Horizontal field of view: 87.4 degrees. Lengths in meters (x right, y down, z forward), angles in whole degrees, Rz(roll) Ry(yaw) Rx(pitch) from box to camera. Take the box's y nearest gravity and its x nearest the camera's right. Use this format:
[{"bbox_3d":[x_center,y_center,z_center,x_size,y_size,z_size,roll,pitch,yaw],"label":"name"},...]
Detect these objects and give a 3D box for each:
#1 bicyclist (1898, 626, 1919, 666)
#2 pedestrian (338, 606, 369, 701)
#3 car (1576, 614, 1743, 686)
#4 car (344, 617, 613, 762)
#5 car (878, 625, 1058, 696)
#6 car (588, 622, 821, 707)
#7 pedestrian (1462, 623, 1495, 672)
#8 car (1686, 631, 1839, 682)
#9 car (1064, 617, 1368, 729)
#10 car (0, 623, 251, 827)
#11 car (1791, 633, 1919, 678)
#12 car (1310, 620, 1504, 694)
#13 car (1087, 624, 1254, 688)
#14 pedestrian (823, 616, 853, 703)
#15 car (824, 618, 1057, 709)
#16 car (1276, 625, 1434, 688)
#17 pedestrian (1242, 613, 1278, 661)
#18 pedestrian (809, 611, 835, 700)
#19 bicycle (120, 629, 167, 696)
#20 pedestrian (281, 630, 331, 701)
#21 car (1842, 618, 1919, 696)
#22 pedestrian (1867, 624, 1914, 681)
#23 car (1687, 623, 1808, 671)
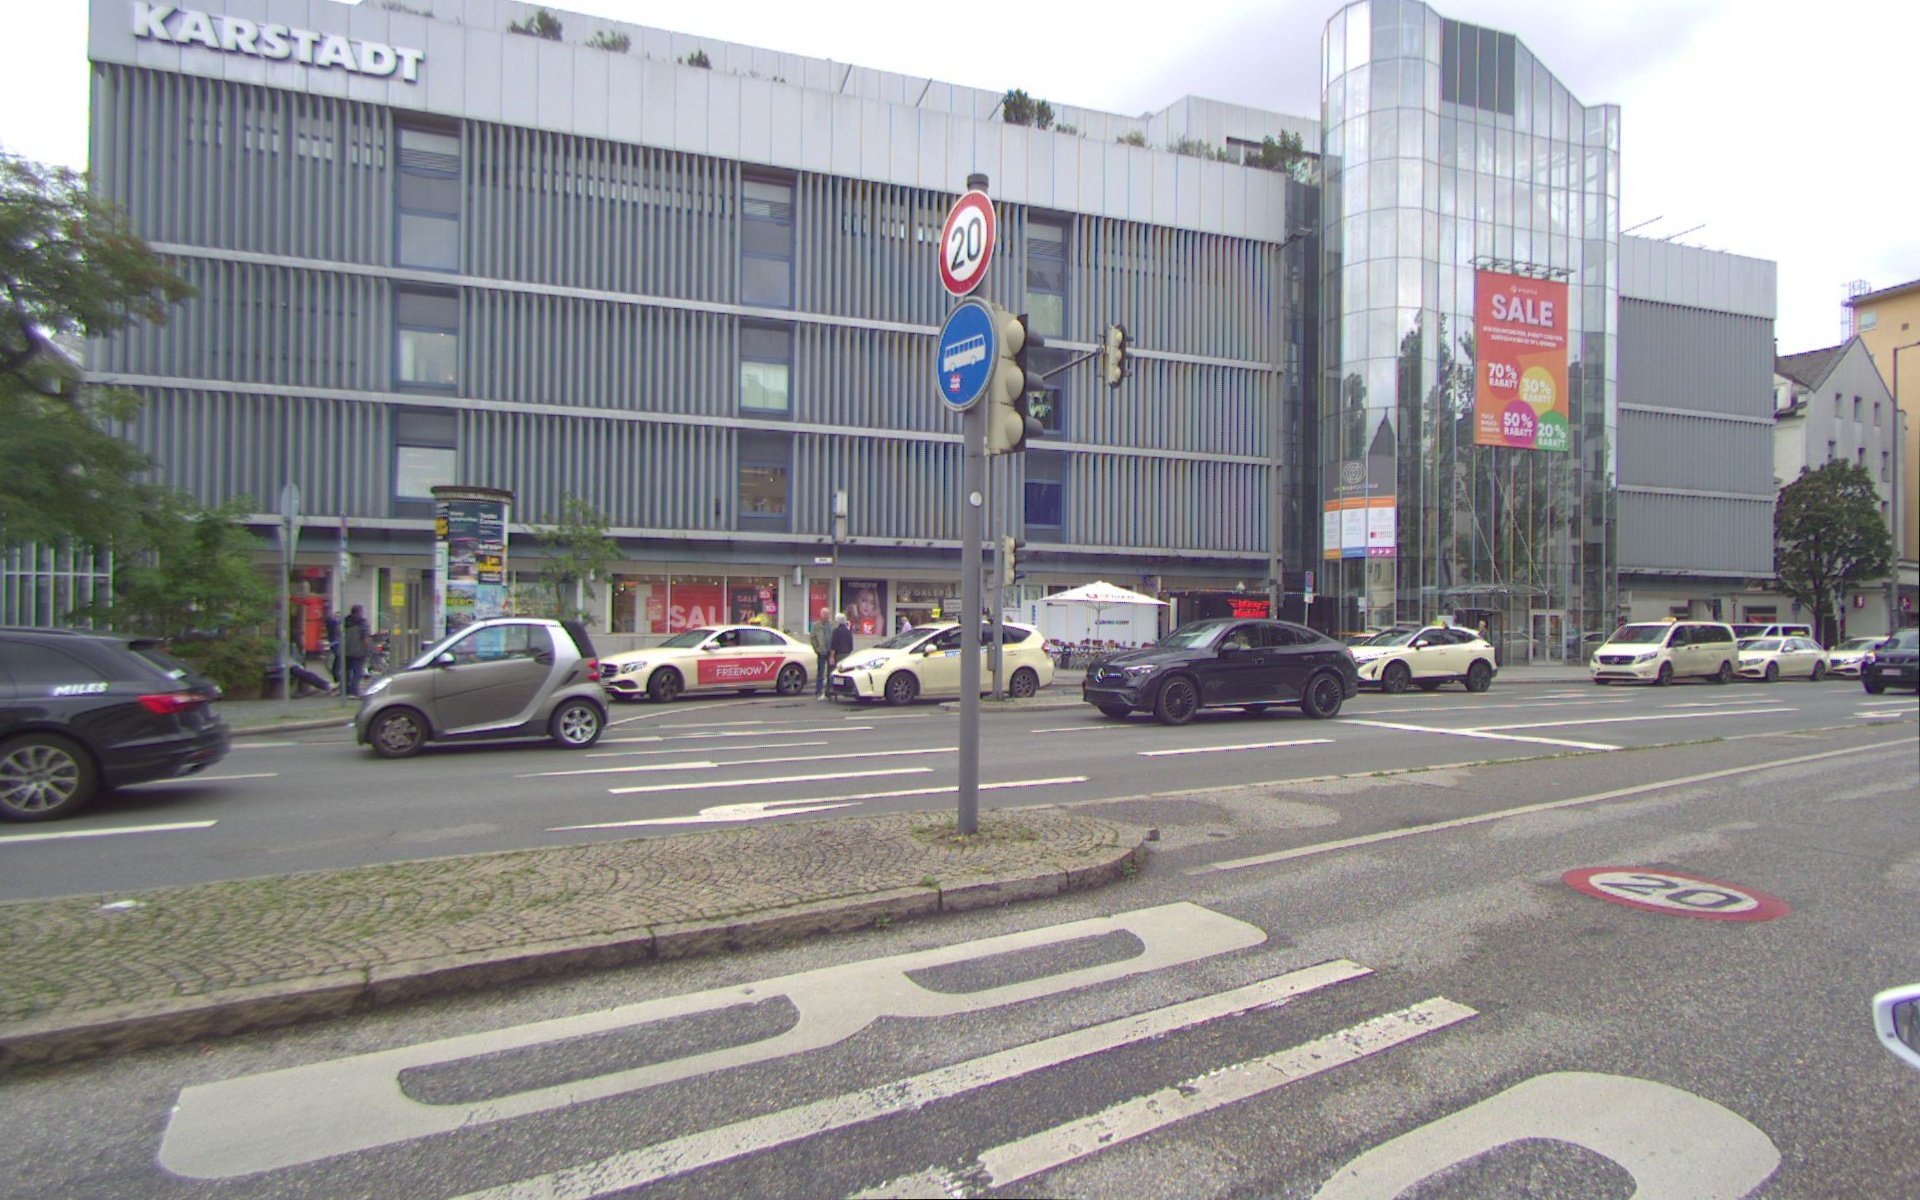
[{"bbox_3d":[39.106,1.874,41.249,0.821,1.613,0.502,1,-1,-18],"label":"bicyclist"},{"bbox_3d":[-11.252,0.990,18.646,0.454,1.722,0.428,2,0,-31],"label":"pedestrian"},{"bbox_3d":[21.152,1.491,30.333,5.255,2.040,1.986,1,-2,-28],"label":"car"},{"bbox_3d":[-5.708,0.983,12.032,2.713,1.535,1.663,1,-1,-28],"label":"car"},{"bbox_3d":[0.207,1.400,24.276,3.950,1.587,1.899,1,-1,-28],"label":"car"},{"bbox_3d":[-5.074,1.228,20.343,1.835,1.530,4.271,-1,-2,45],"label":"car"},{"bbox_3d":[19.605,1.789,37.991,0.805,1.829,0.788,1,-1,-19],"label":"pedestrian"},{"bbox_3d":[26.308,1.816,32.910,5.018,1.573,1.971,1,-2,-26],"label":"car"},{"bbox_3d":[4.149,1.105,16.265,4.552,1.597,1.988,1,-1,-24],"label":"car"},{"bbox_3d":[-8.158,0.886,7.431,4.561,1.435,1.984,1,-1,-30],"label":"car"},{"bbox_3d":[31.448,1.929,35.048,4.914,1.488,1.852,1,-3,-25],"label":"car"},{"bbox_3d":[11.094,1.389,24.957,4.316,1.721,1.883,1,-3,-20],"label":"car"},{"bbox_3d":[5.444,1.406,25.987,3.943,1.557,1.748,1,-1,-23],"label":"car"},{"bbox_3d":[-2.388,1.164,19.686,0.420,1.677,0.362,2,0,-31],"label":"pedestrian"},{"bbox_3d":[-0.323,1.191,19.778,4.426,1.633,1.579,1,-2,-32],"label":"car"},{"bbox_3d":[10.884,1.516,27.706,3.941,1.637,1.769,1,-2,-21],"label":"car"},{"bbox_3d":[9.869,1.210,33.047,0.885,1.566,0.731,1,-1,-18],"label":"pedestrian"},{"bbox_3d":[-2.778,1.107,20.213,0.421,1.752,0.524,2,0,-15],"label":"pedestrian"},{"bbox_3d":[-13.183,0.990,16.244,0.415,1.030,1.287,1,-2,-32],"label":"bicycle"},{"bbox_3d":[-12.618,1.252,19.406,0.765,1.325,0.540,1,-1,-30],"label":"pedestrian"},{"bbox_3d":[24.149,1.368,24.754,4.536,1.801,1.988,1,-1,-25],"label":"car"},{"bbox_3d":[31.066,1.746,33.541,0.830,1.892,0.788,0,-1,-1],"label":"pedestrian"},{"bbox_3d":[35.055,2.039,44.714,5.038,2.040,1.990,1,-1,-22],"label":"car"}]
